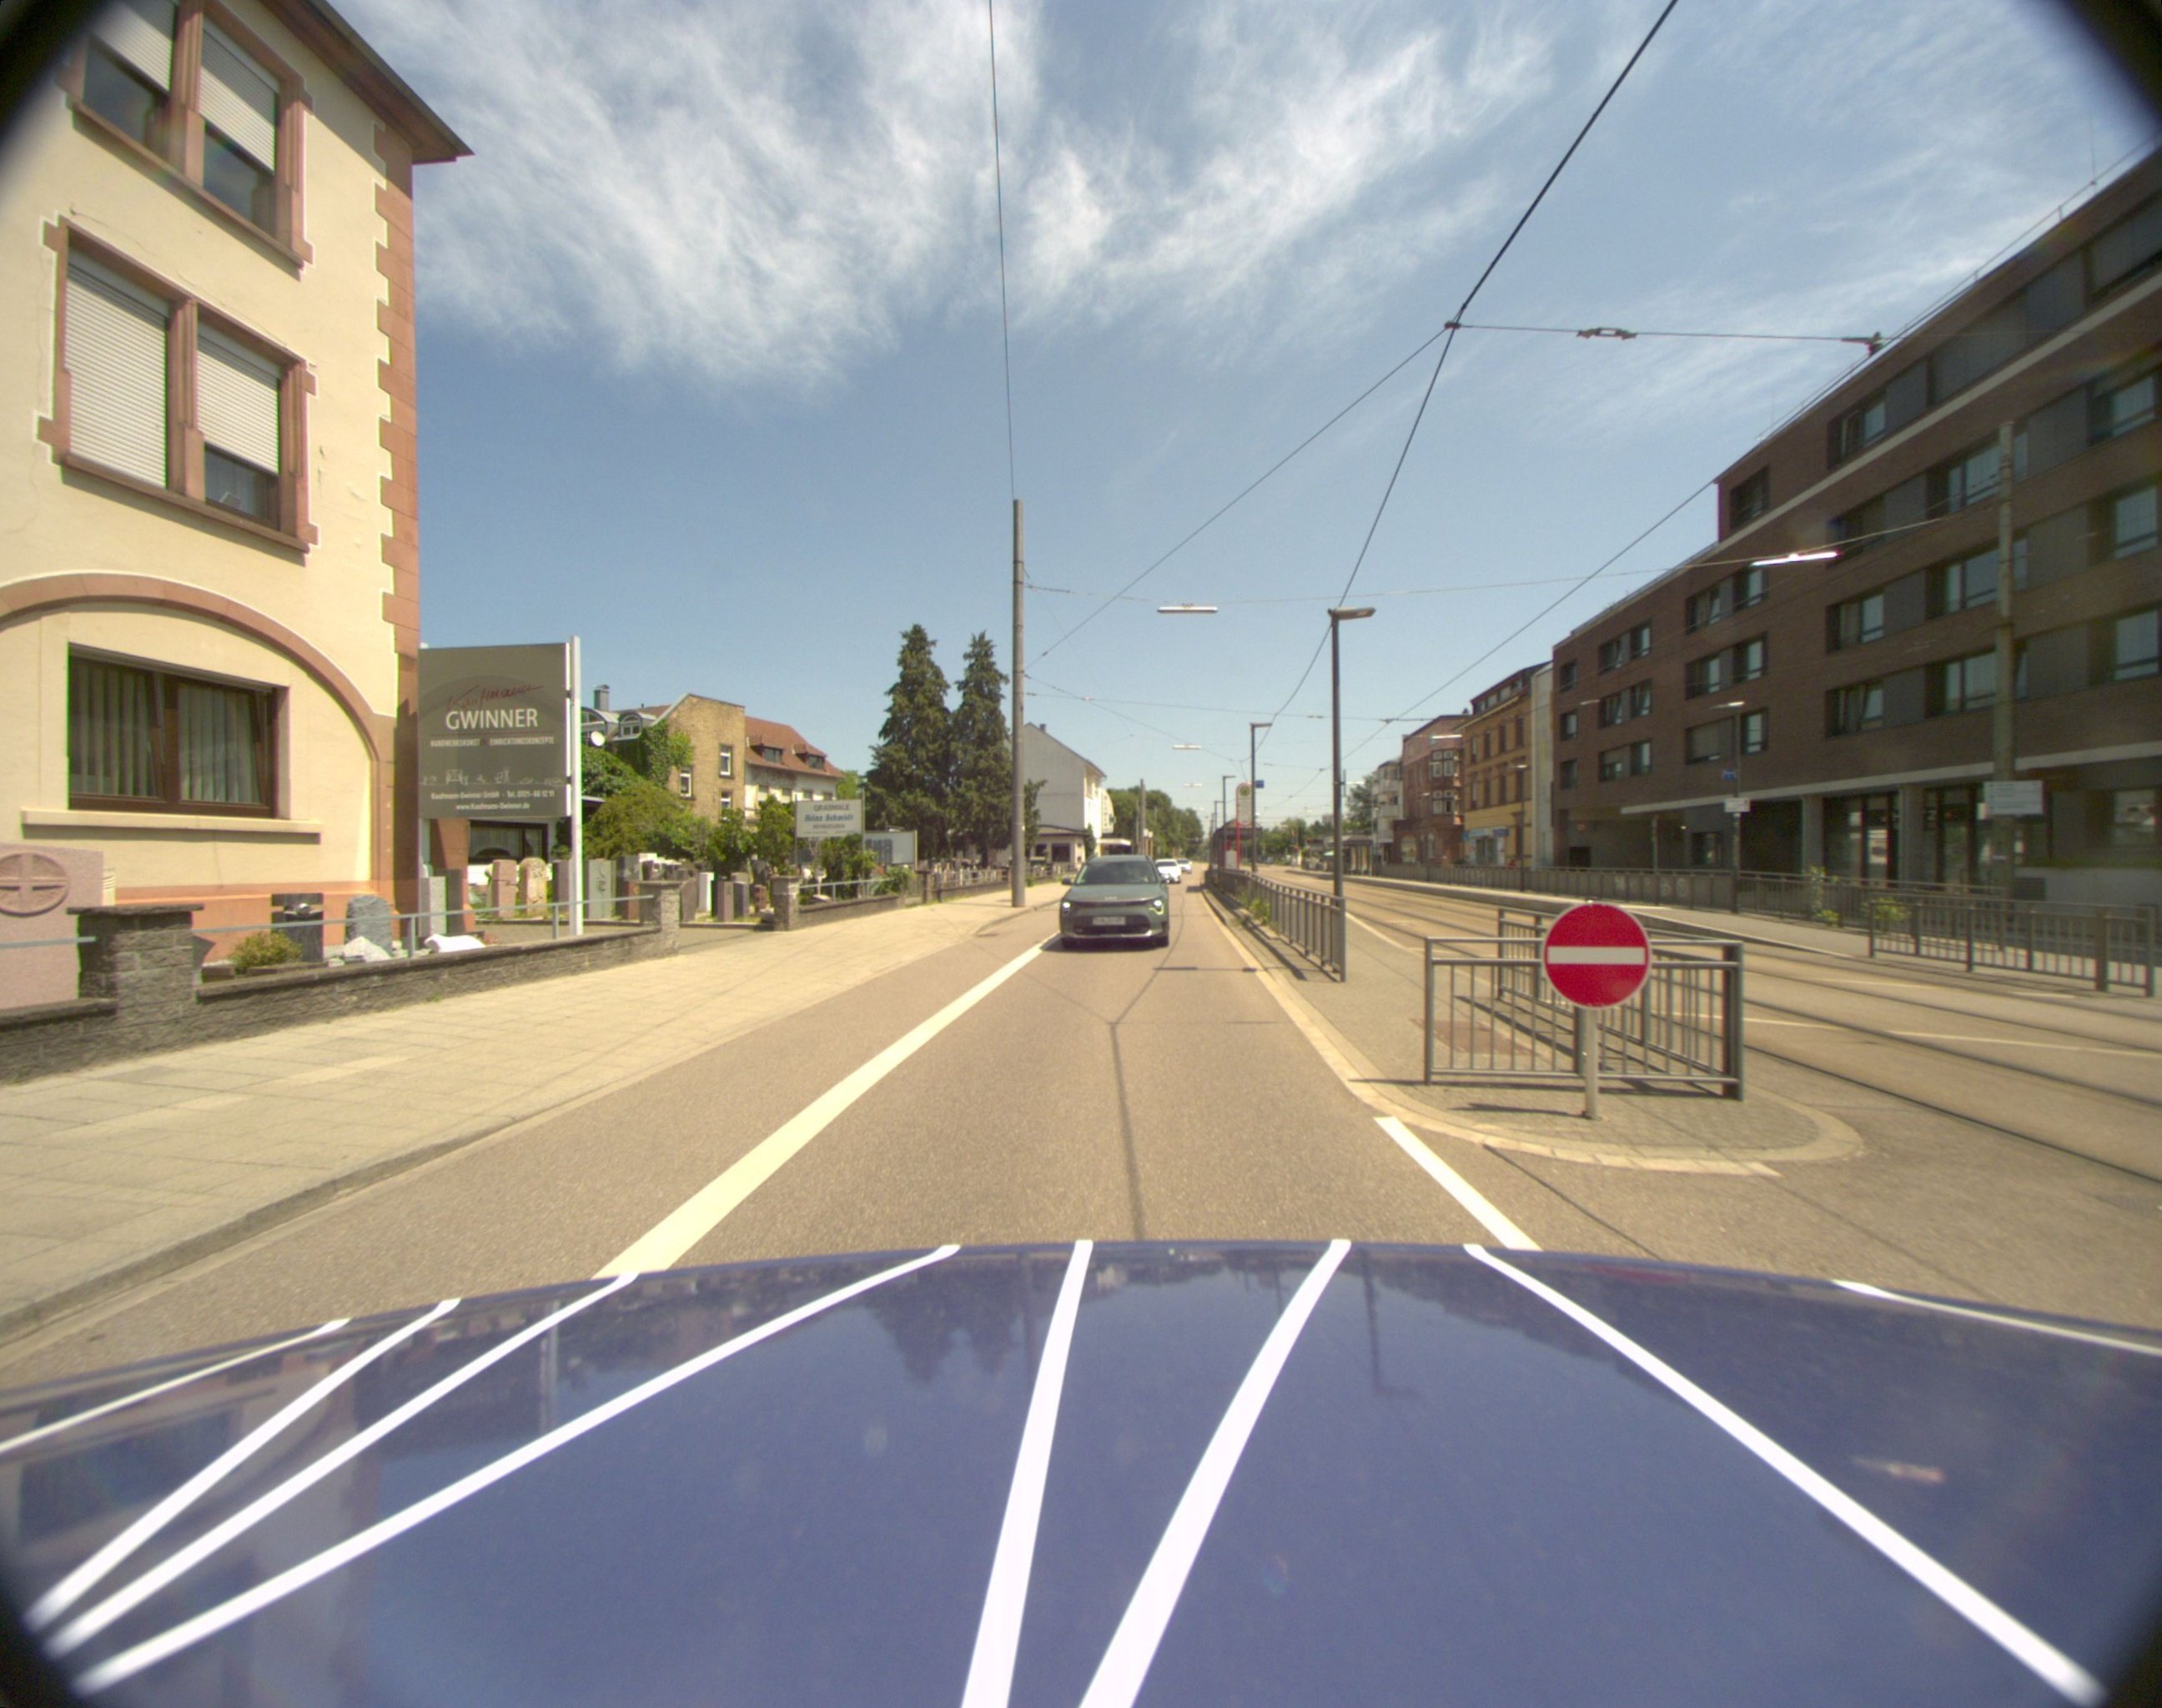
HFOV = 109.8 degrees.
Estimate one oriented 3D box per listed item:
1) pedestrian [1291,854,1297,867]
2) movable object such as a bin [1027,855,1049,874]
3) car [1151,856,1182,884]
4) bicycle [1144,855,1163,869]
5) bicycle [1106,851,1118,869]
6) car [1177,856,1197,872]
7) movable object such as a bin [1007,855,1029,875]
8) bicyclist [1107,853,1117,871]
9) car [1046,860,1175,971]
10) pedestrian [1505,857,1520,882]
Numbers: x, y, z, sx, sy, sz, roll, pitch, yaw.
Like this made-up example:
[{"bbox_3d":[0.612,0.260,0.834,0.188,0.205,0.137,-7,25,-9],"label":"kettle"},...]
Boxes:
[{"bbox_3d":[26.288,0.834,93.634,0.597,1.615,0.677,1,1,10],"label":"pedestrian"},{"bbox_3d":[-3.275,0.811,58.127,1.389,1.472,1.152,0,0,10],"label":"movable object such as a bin"},{"bbox_3d":[5.238,0.940,46.229,1.748,1.546,4.490,-2,0,8],"label":"car"},{"bbox_3d":[9.293,1.050,97.512,2.052,1.580,0.889,4,1,-22],"label":"bicycle"},{"bbox_3d":[3.286,0.653,80.278,0.799,1.889,1.961,2,0,17],"label":"bicycle"},{"bbox_3d":[10.844,1.002,78.066,1.748,1.546,4.489,-2,0,4],"label":"car"},{"bbox_3d":[-4.807,0.832,58.425,1.389,1.472,1.152,0,0,13],"label":"movable object such as a bin"},{"bbox_3d":[3.244,0.805,80.163,0.790,1.863,0.888,2,0,16],"label":"bicyclist"},{"bbox_3d":[0.652,0.905,13.151,1.826,1.546,4.489,-1,0,6],"label":"car"},{"bbox_3d":[26.736,0.958,47.056,0.604,1.586,0.715,0,0,7],"label":"pedestrian"}]
